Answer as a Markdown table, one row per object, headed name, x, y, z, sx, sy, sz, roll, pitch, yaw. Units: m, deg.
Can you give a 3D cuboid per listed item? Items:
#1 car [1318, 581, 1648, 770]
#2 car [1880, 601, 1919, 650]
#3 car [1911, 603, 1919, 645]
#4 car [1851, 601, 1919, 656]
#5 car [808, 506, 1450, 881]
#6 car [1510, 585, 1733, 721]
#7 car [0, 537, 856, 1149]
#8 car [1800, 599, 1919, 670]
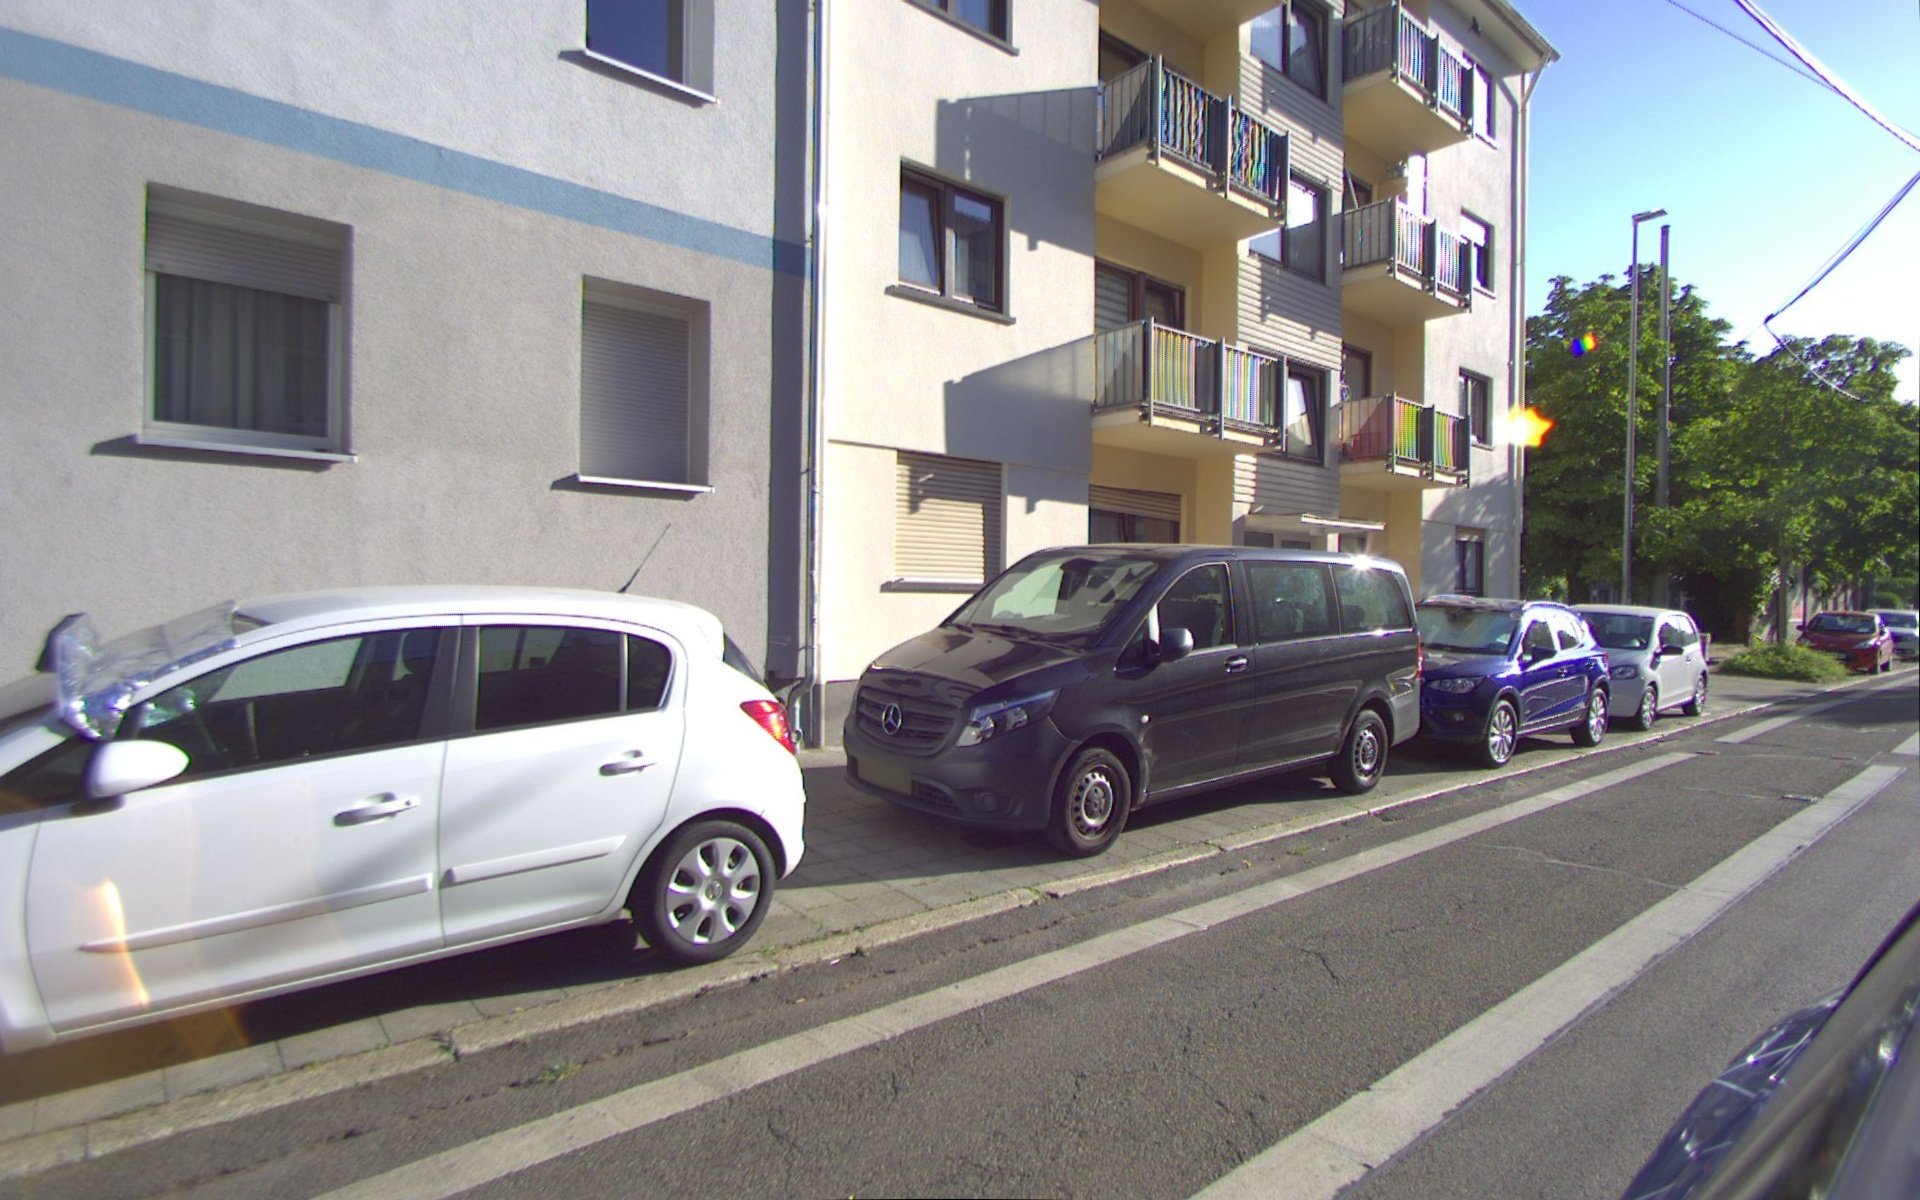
| name | x | y | z | sx | sy | sz | roll | pitch | yaw |
| --- | --- | --- | --- | --- | --- | --- | --- | --- | --- |
| car | 5.655 | 0.654 | 10.717 | 4.144 | 1.590 | 1.612 | 0 | 2 | -40 |
| car | 33.811 | 0.872 | 35.466 | 4.400 | 1.590 | 1.827 | 0 | 2 | -41 |
| car | 38.142 | 0.949 | 38.949 | 4.400 | 1.590 | 1.827 | 0 | 2 | -41 |
| car | 29.789 | 0.860 | 32.019 | 4.400 | 1.590 | 1.827 | 0 | 2 | -41 |
| car | 1.512 | 0.455 | 7.551 | 4.914 | 1.945 | 1.934 | 0 | 2 | -39 |
| car | 9.063 | 0.627 | 13.770 | 3.568 | 1.561 | 1.557 | 0 | 2 | -40 |
| car | -2.494 | 0.597 | 3.805 | 3.836 | 1.590 | 1.804 | 0 | 2 | -41 |
| car | 22.970 | 0.811 | 25.790 | 4.399 | 1.590 | 1.612 | 0 | 2 | -40 |
